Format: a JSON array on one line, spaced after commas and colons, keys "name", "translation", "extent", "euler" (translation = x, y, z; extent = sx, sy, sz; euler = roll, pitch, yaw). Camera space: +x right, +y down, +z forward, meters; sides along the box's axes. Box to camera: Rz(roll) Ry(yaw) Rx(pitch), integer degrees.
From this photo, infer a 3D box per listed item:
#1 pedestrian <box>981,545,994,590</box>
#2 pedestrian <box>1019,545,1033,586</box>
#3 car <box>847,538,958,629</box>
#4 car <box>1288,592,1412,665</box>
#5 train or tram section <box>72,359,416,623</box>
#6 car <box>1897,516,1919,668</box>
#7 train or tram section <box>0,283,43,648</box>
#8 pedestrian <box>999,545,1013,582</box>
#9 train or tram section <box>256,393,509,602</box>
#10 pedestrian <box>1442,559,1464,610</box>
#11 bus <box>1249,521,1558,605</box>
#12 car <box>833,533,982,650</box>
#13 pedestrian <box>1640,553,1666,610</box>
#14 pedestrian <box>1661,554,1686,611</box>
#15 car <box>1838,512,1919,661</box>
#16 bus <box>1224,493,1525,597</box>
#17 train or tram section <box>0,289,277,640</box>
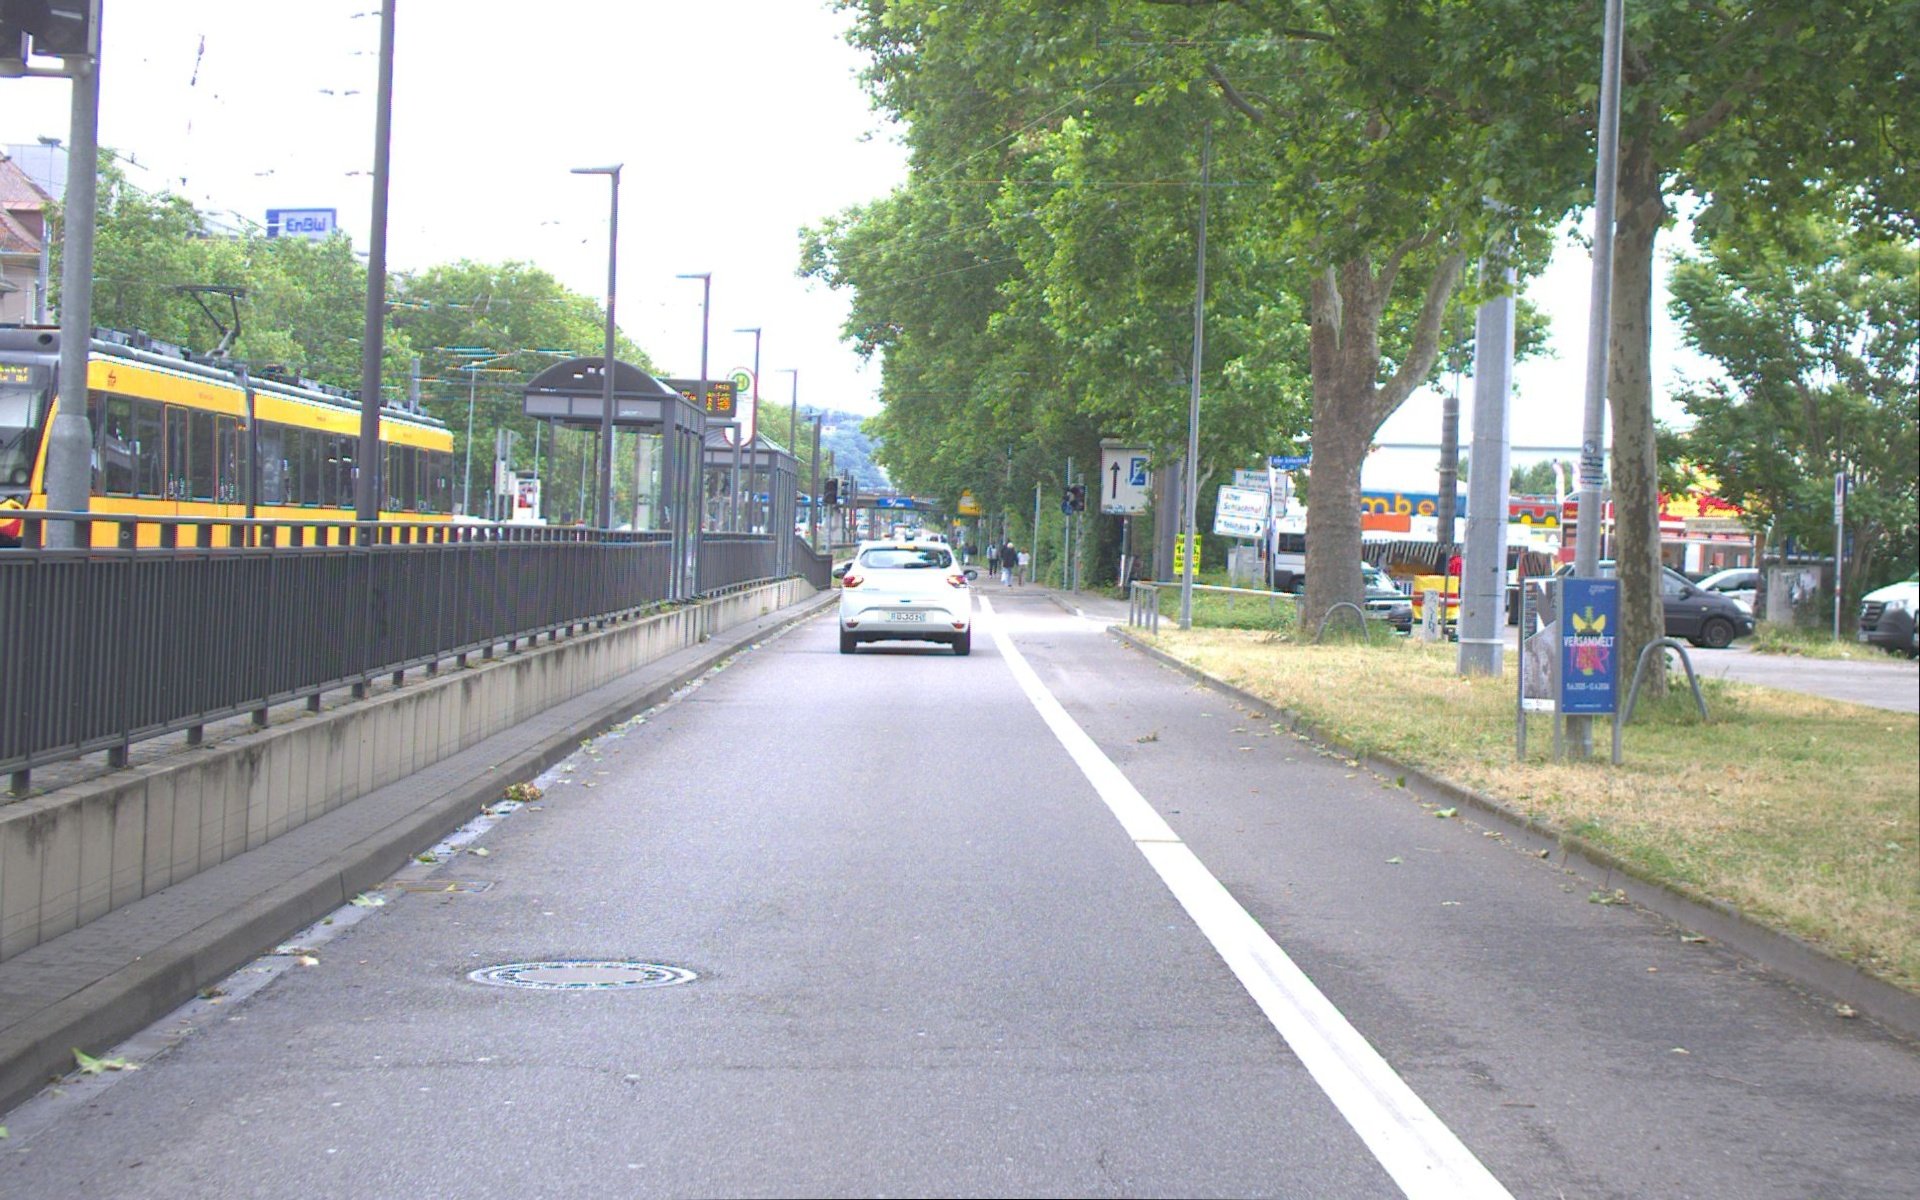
[{"name": "pedestrian", "translation": [1.259, -1.490, 156.661], "extent": [0.396, 2.007, 0.402], "euler": [2, 0, 15]}, {"name": "pedestrian", "translation": [2.581, -1.351, 135.238], "extent": [0.396, 1.580, 0.538], "euler": [2, 0, 11]}, {"name": "car", "translation": [-1.009, -0.321, 62.351], "extent": [1.841, 1.546, 4.000], "euler": [2, 1, 1]}, {"name": "car", "translation": [8.345, 0.601, 73.854], "extent": [1.863, 1.425, 4.001], "euler": [2, 0, -5]}, {"name": "train or tram section", "translation": [-12.773, -1.818, 63.073], "extent": [3.180, 4.164, 14.734], "euler": [2, 0, 0]}, {"name": "car", "translation": [18.878, 0.085, 57.283], "extent": [5.785, 2.526, 2.040], "euler": [4, 0, -1]}, {"name": "train or tram section", "translation": [-12.530, -1.552, 34.076], "extent": [3.180, 4.164, 13.621], "euler": [2, 0, 0]}, {"name": "pedestrian", "translation": [1.823, -1.430, 135.298], "extent": [0.396, 1.439, 0.563], "euler": [2, 0, 13]}, {"name": "train or tram section", "translation": [-12.800, -2.143, 77.787], "extent": [3.180, 4.164, 14.734], "euler": [2, 0, 0]}, {"name": "pedestrian", "translation": [14.518, -0.453, 101.160], "extent": [0.492, 1.458, 0.524], "euler": [2, 0, -3]}, {"name": "bus", "translation": [13.829, -1.157, 107.371], "extent": [9.276, 2.220, 2.000], "euler": [2, 0, -3]}, {"name": "car", "translation": [-0.732, -0.121, 46.763], "extent": [1.885, 1.448, 4.000], "euler": [2, 0, -1]}, {"name": "pedestrian", "translation": [20.760, -0.542, 102.985], "extent": [0.522, 1.681, 0.494], "euler": [2, 0, -17]}, {"name": "pedestrian", "translation": [21.471, -0.520, 103.464], "extent": [0.522, 1.681, 0.494], "euler": [2, 0, -17]}, {"name": "car", "translation": [18.838, -0.140, 60.692], "extent": [6.022, 2.547, 2.100], "euler": [2, 0, -2]}, {"name": "bus", "translation": [13.287, -1.753, 110.426], "extent": [9.276, 2.949, 2.000], "euler": [2, 0, -3]}, {"name": "train or tram section", "translation": [-12.679, -1.718, 48.284], "extent": [3.180, 4.164, 14.734], "euler": [2, 0, 0]}]
